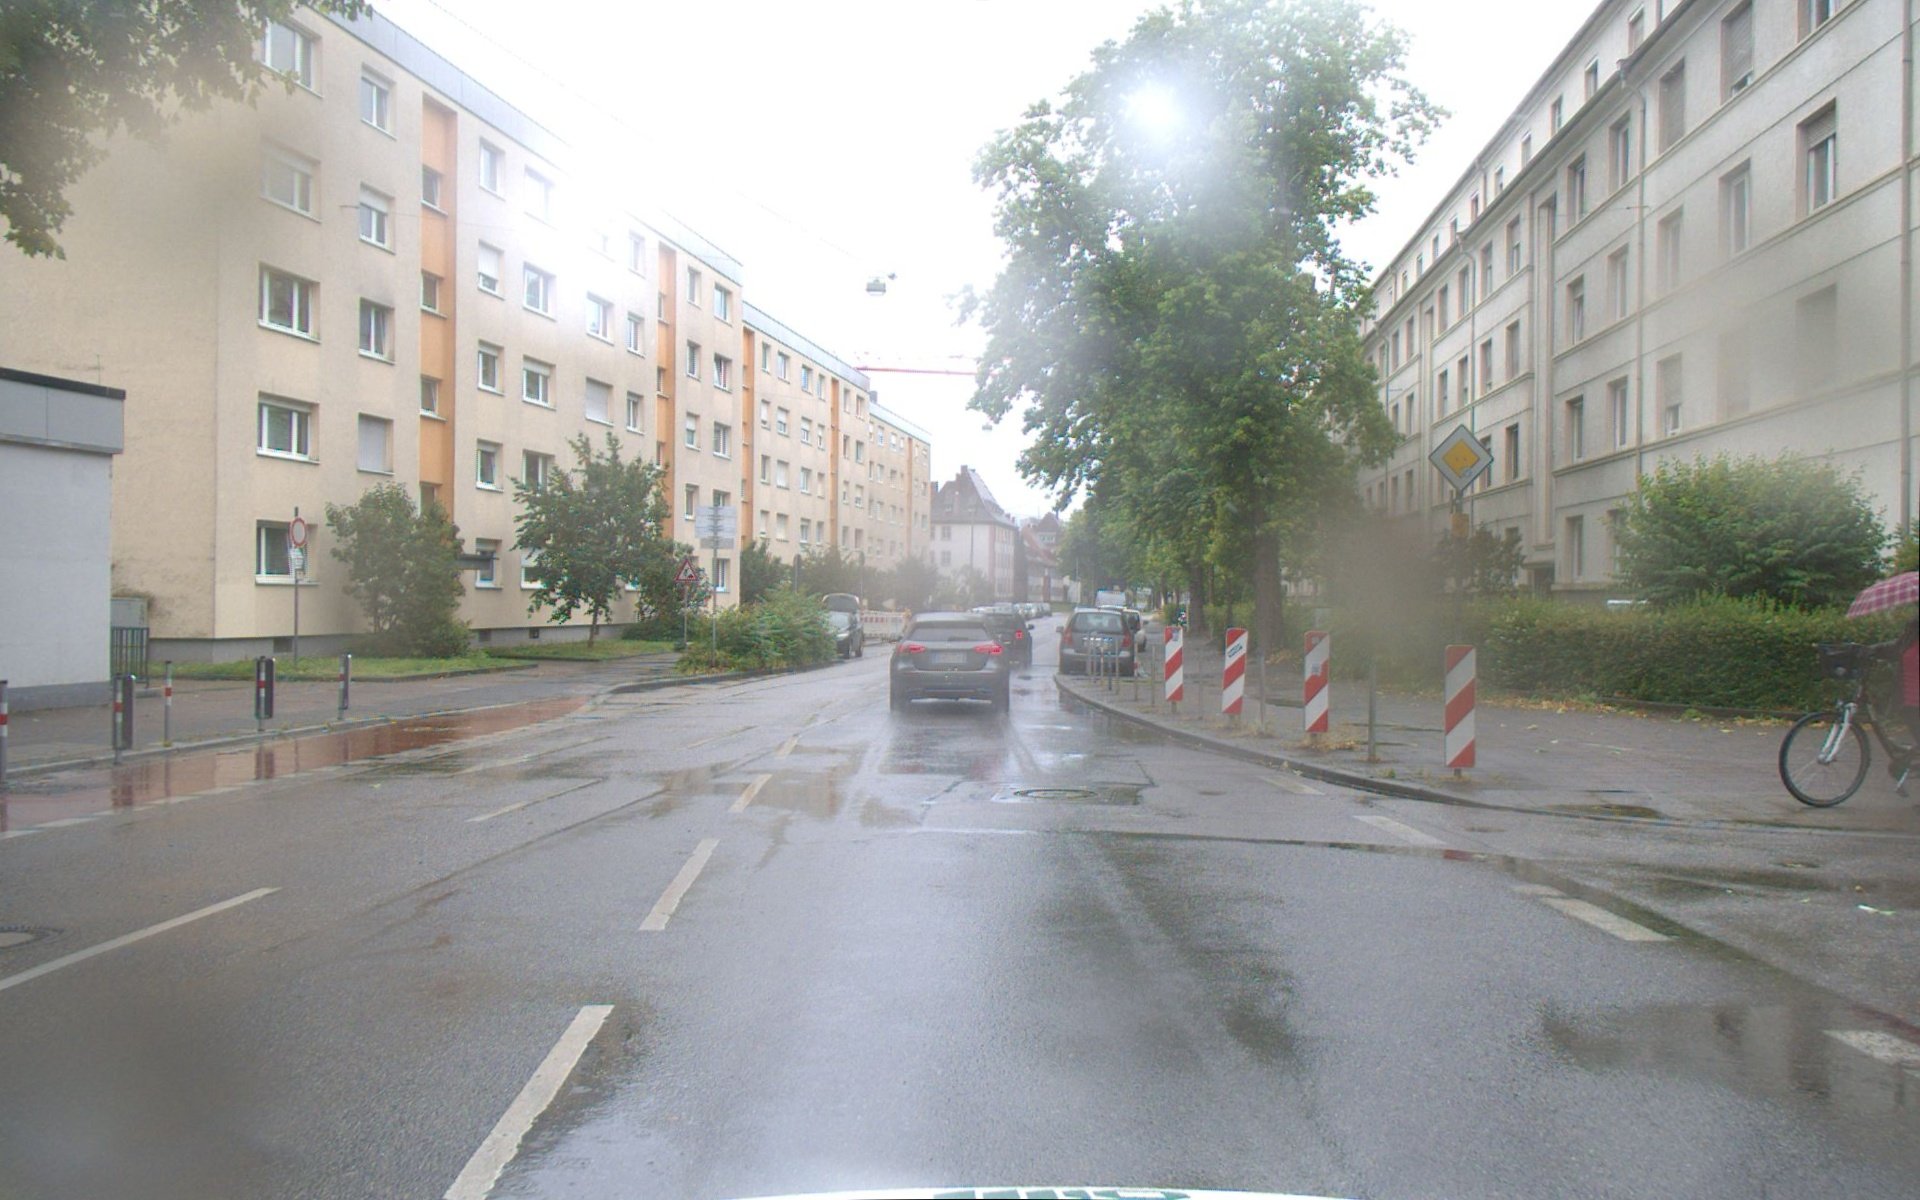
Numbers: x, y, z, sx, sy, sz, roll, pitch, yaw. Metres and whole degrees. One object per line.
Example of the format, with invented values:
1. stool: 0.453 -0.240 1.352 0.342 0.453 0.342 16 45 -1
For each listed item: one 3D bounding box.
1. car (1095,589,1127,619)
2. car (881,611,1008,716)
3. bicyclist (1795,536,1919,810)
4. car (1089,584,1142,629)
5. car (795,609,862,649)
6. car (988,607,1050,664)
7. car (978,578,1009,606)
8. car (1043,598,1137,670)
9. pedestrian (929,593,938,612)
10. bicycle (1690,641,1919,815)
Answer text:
1. car: 9.744 0.249 106.817 2.003 1.868 4.795 0 0 5
2. car: -0.171 0.909 25.152 1.754 1.396 3.507 2 0 2
3. bicyclist: 6.937 0.504 12.134 0.923 1.901 1.137 0 0 -17
4. car: 5.671 0.236 60.196 1.849 1.601 4.002 0 0 5
5. car: -4.254 0.922 53.872 1.556 1.227 3.462 0 0 6
6. car: 1.547 0.910 43.715 1.574 1.396 4.001 0 0 2
7. car: 2.356 -0.545 114.497 1.849 1.868 4.002 0 0 5
8. car: 2.994 0.777 38.829 1.952 1.601 4.000 0 0 1
9. pedestrian: -1.926 0.187 120.643 0.517 1.381 0.586 2 -1 10
10. bicycle: 7.075 0.894 12.237 3.155 1.131 1.049 0 1 -17
